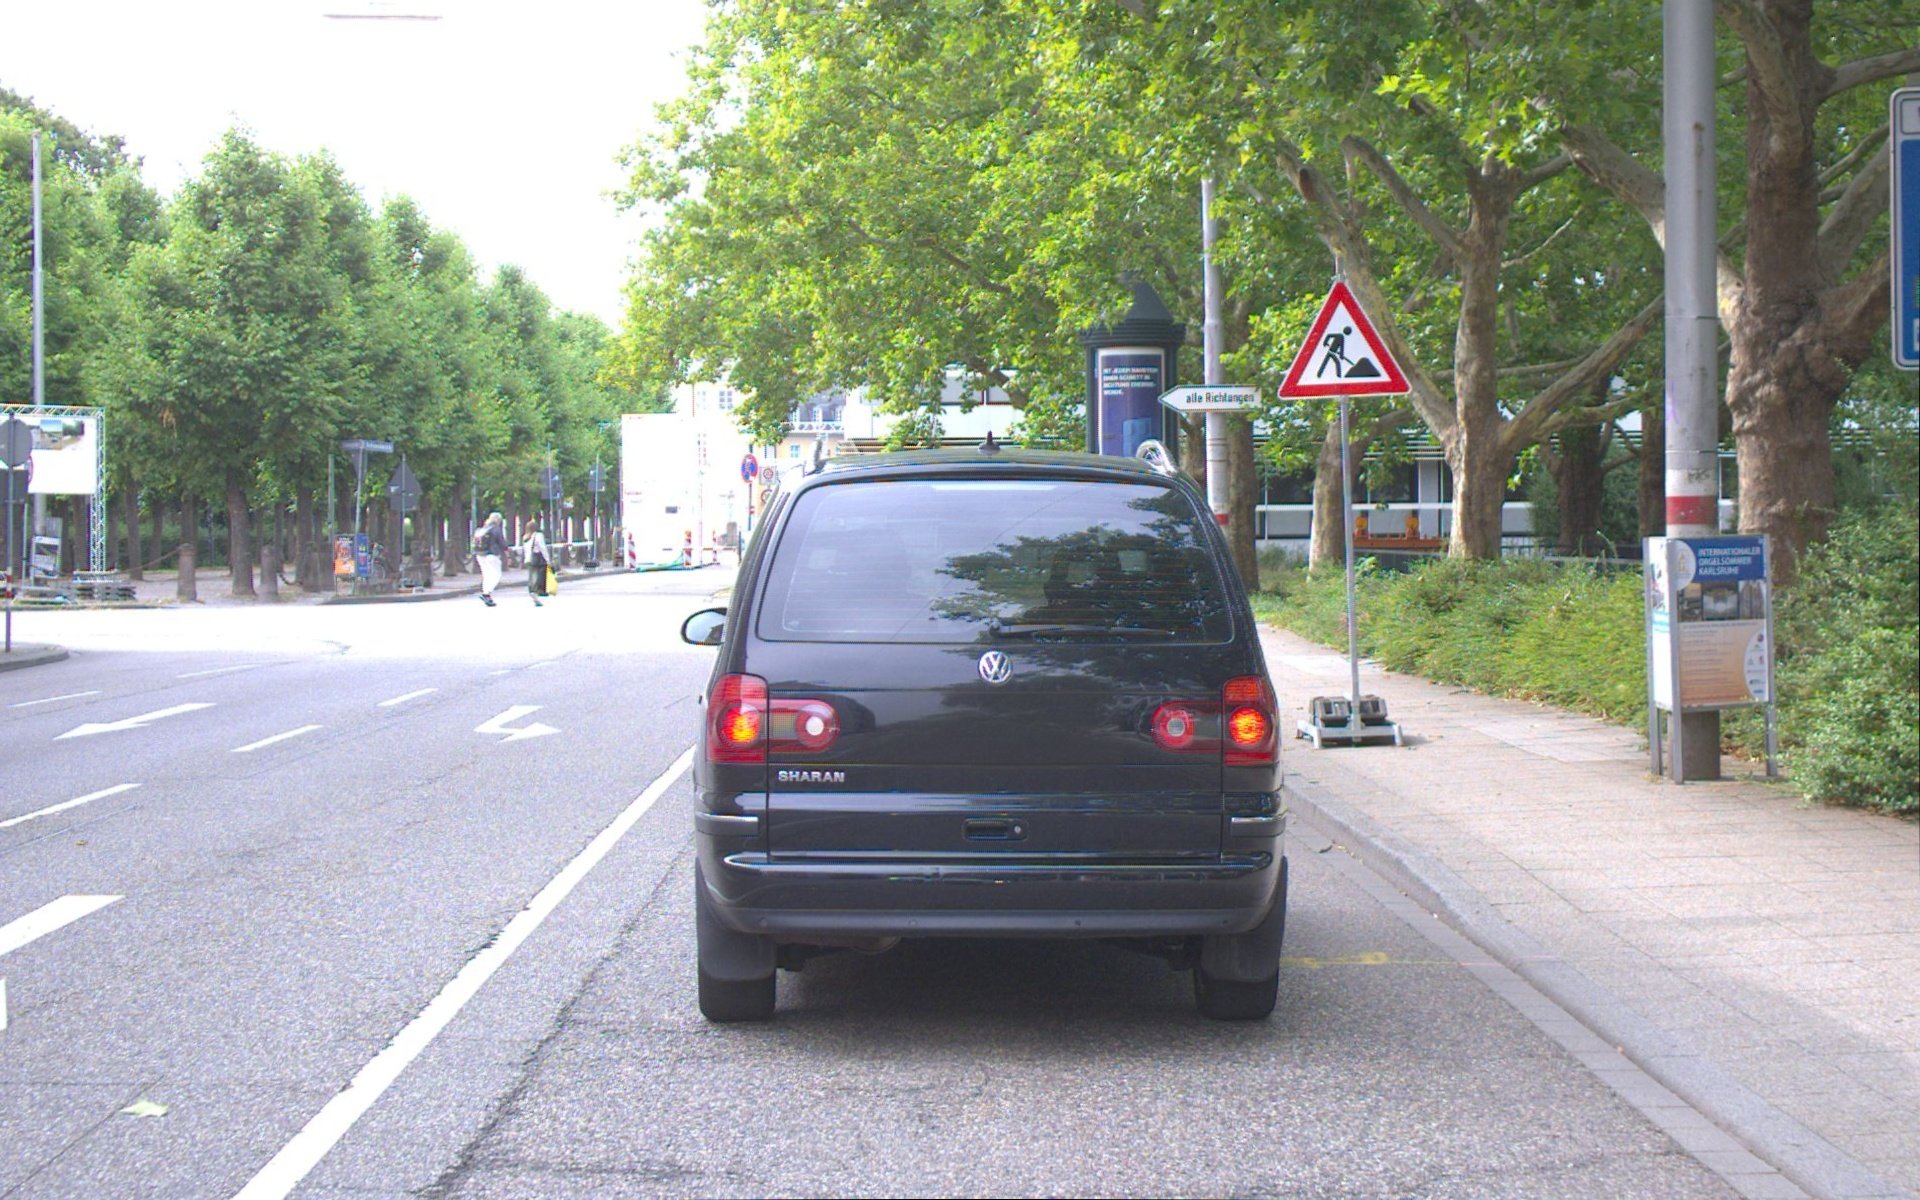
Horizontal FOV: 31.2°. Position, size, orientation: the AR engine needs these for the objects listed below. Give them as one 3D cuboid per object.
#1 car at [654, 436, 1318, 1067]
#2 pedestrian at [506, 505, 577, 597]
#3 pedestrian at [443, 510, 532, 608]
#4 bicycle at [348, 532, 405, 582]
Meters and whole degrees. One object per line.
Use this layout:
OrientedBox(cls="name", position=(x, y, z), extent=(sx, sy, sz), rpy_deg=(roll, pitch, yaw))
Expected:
OrientedBox(cls="car", position=(0.018, 0.357, 11.433), extent=(1.793, 1.702, 4.131), rpy_deg=(-1, 2, -2))
OrientedBox(cls="pedestrian", position=(-7.574, -0.889, 62.237), extent=(0.898, 1.635, 0.851), rpy_deg=(2, 2, 35))
OrientedBox(cls="pedestrian", position=(-8.577, -0.749, 62.457), extent=(0.962, 1.735, 1.253), rpy_deg=(2, 2, 38))
OrientedBox(cls="bicycle", position=(-13.893, -1.032, 81.798), extent=(0.952, 1.106, 2.580), rpy_deg=(1, 2, -18))
